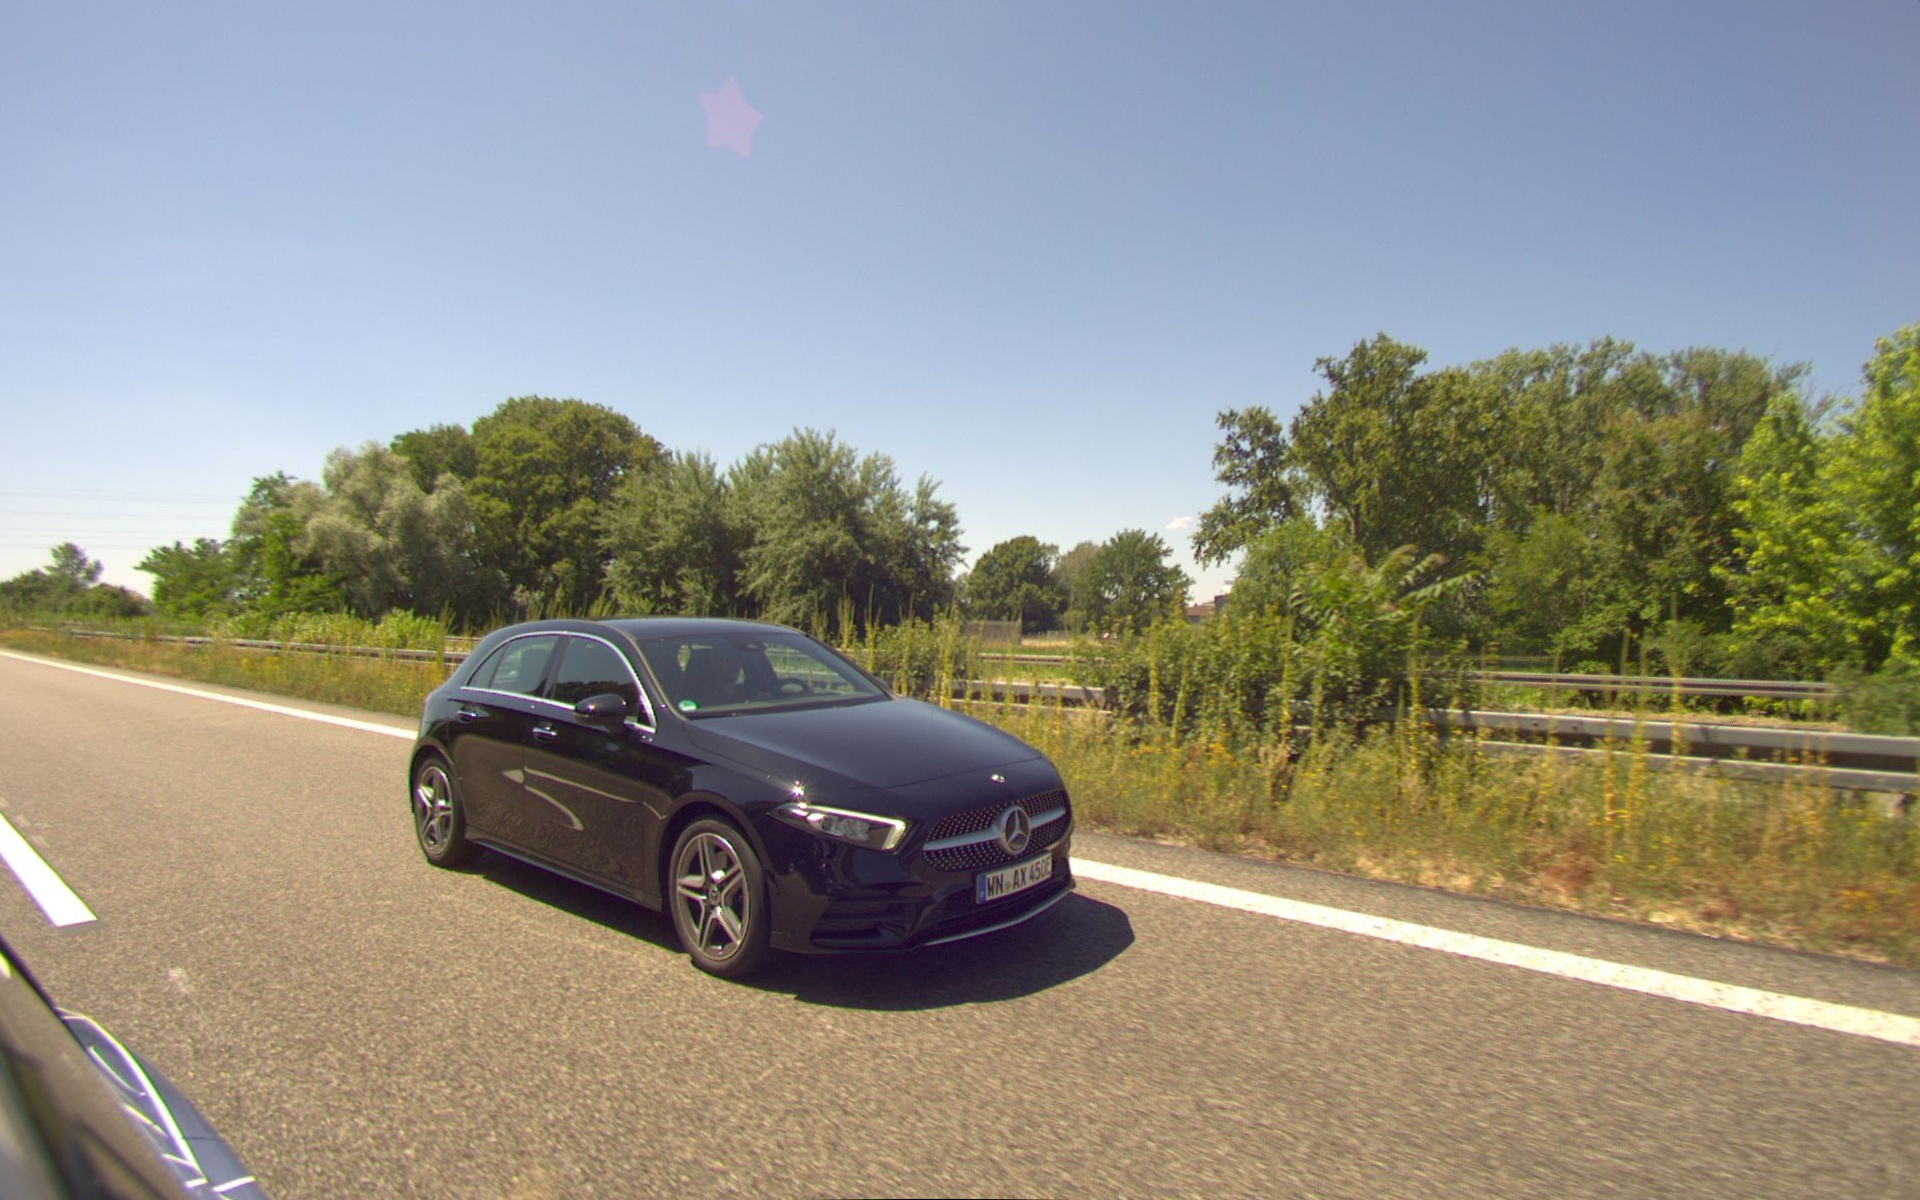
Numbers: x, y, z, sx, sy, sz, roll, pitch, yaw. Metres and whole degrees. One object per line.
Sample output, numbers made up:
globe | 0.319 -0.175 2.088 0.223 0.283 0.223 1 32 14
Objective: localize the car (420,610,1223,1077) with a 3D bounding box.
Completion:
car | -0.949 0.784 5.101 4.050 1.422 1.774 -1 -2 40
